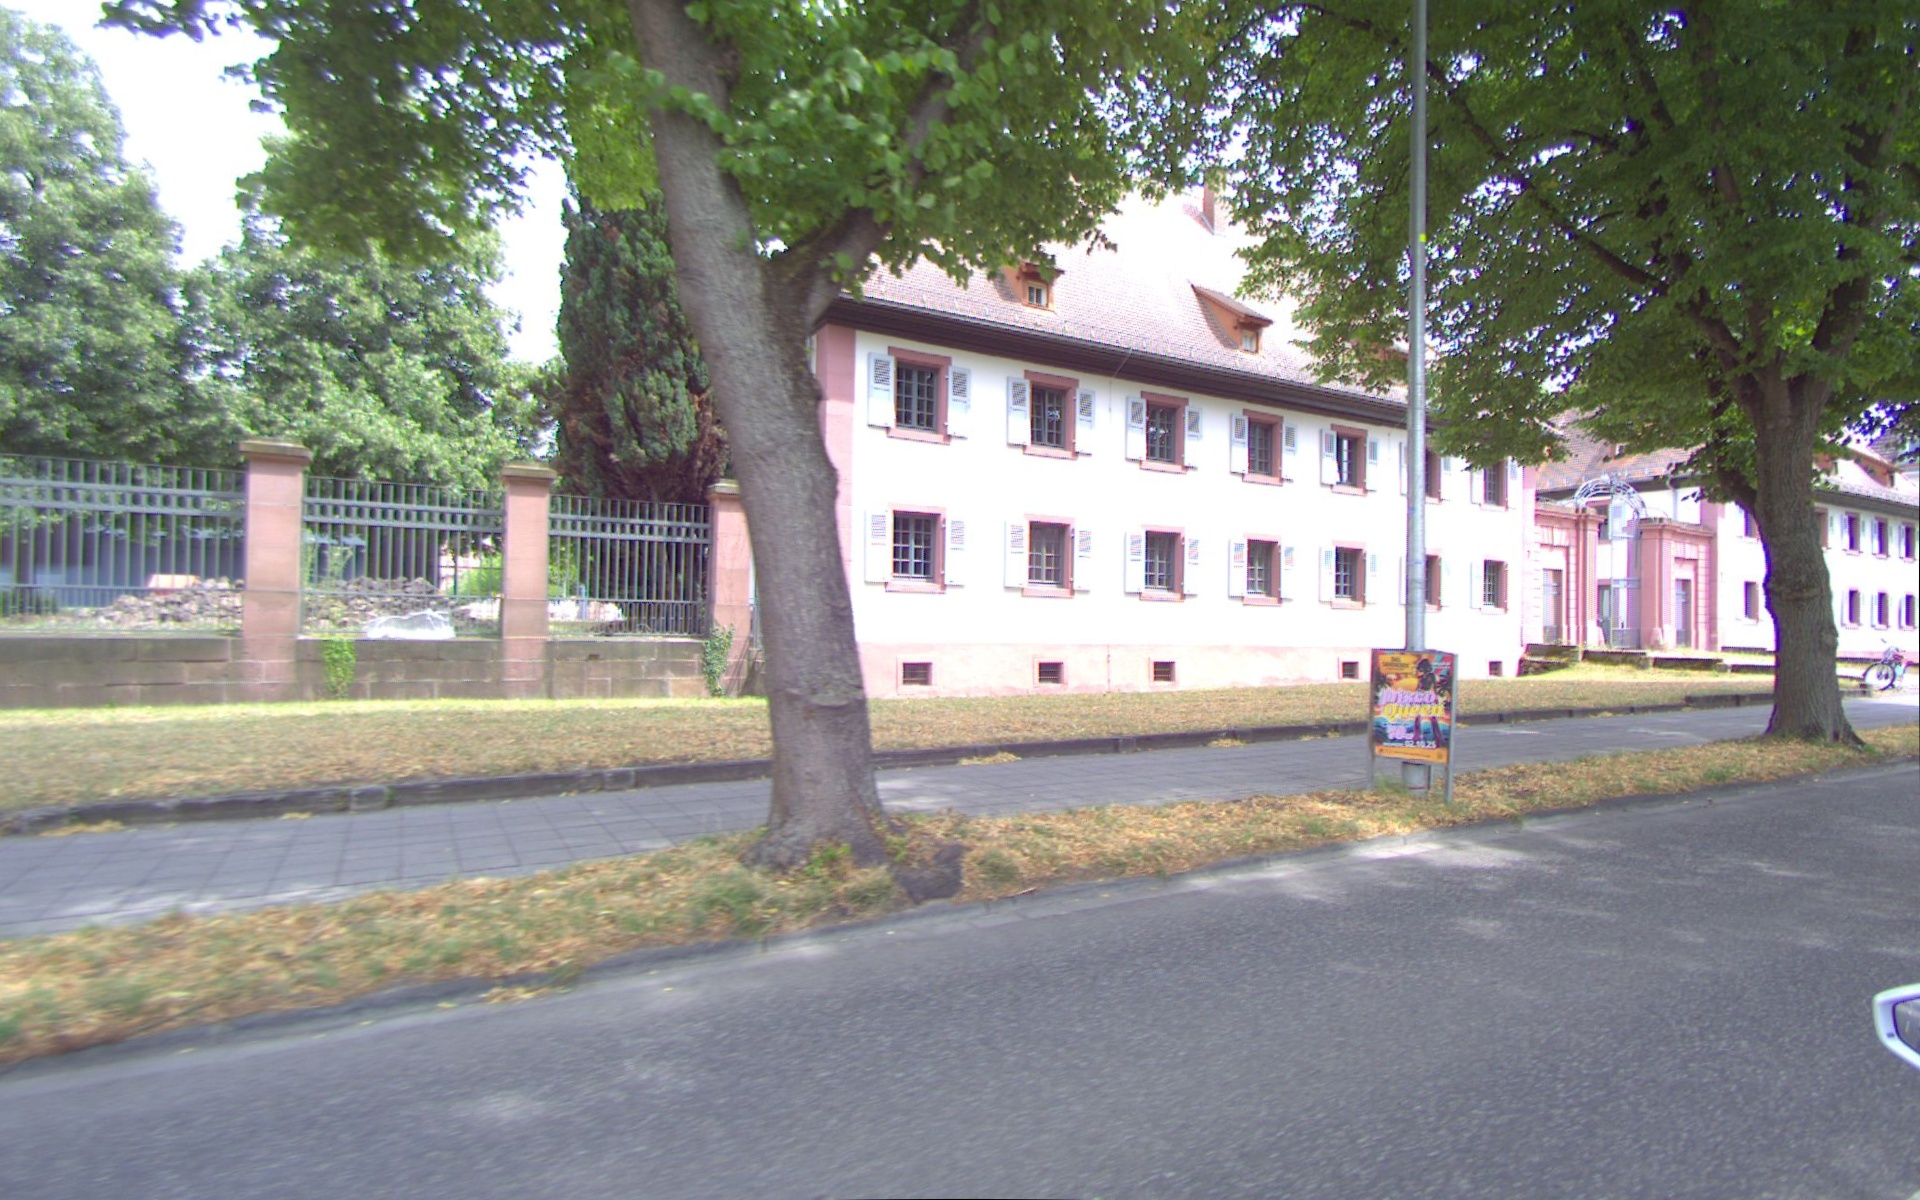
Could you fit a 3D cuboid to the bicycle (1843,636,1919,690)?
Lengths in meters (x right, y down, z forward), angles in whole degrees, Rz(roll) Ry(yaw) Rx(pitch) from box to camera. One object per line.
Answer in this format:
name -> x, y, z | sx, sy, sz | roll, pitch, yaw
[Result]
bicycle -> 20.787, 1.388, 22.556 | 2.199, 1.110, 0.719 | 1, 3, -31
